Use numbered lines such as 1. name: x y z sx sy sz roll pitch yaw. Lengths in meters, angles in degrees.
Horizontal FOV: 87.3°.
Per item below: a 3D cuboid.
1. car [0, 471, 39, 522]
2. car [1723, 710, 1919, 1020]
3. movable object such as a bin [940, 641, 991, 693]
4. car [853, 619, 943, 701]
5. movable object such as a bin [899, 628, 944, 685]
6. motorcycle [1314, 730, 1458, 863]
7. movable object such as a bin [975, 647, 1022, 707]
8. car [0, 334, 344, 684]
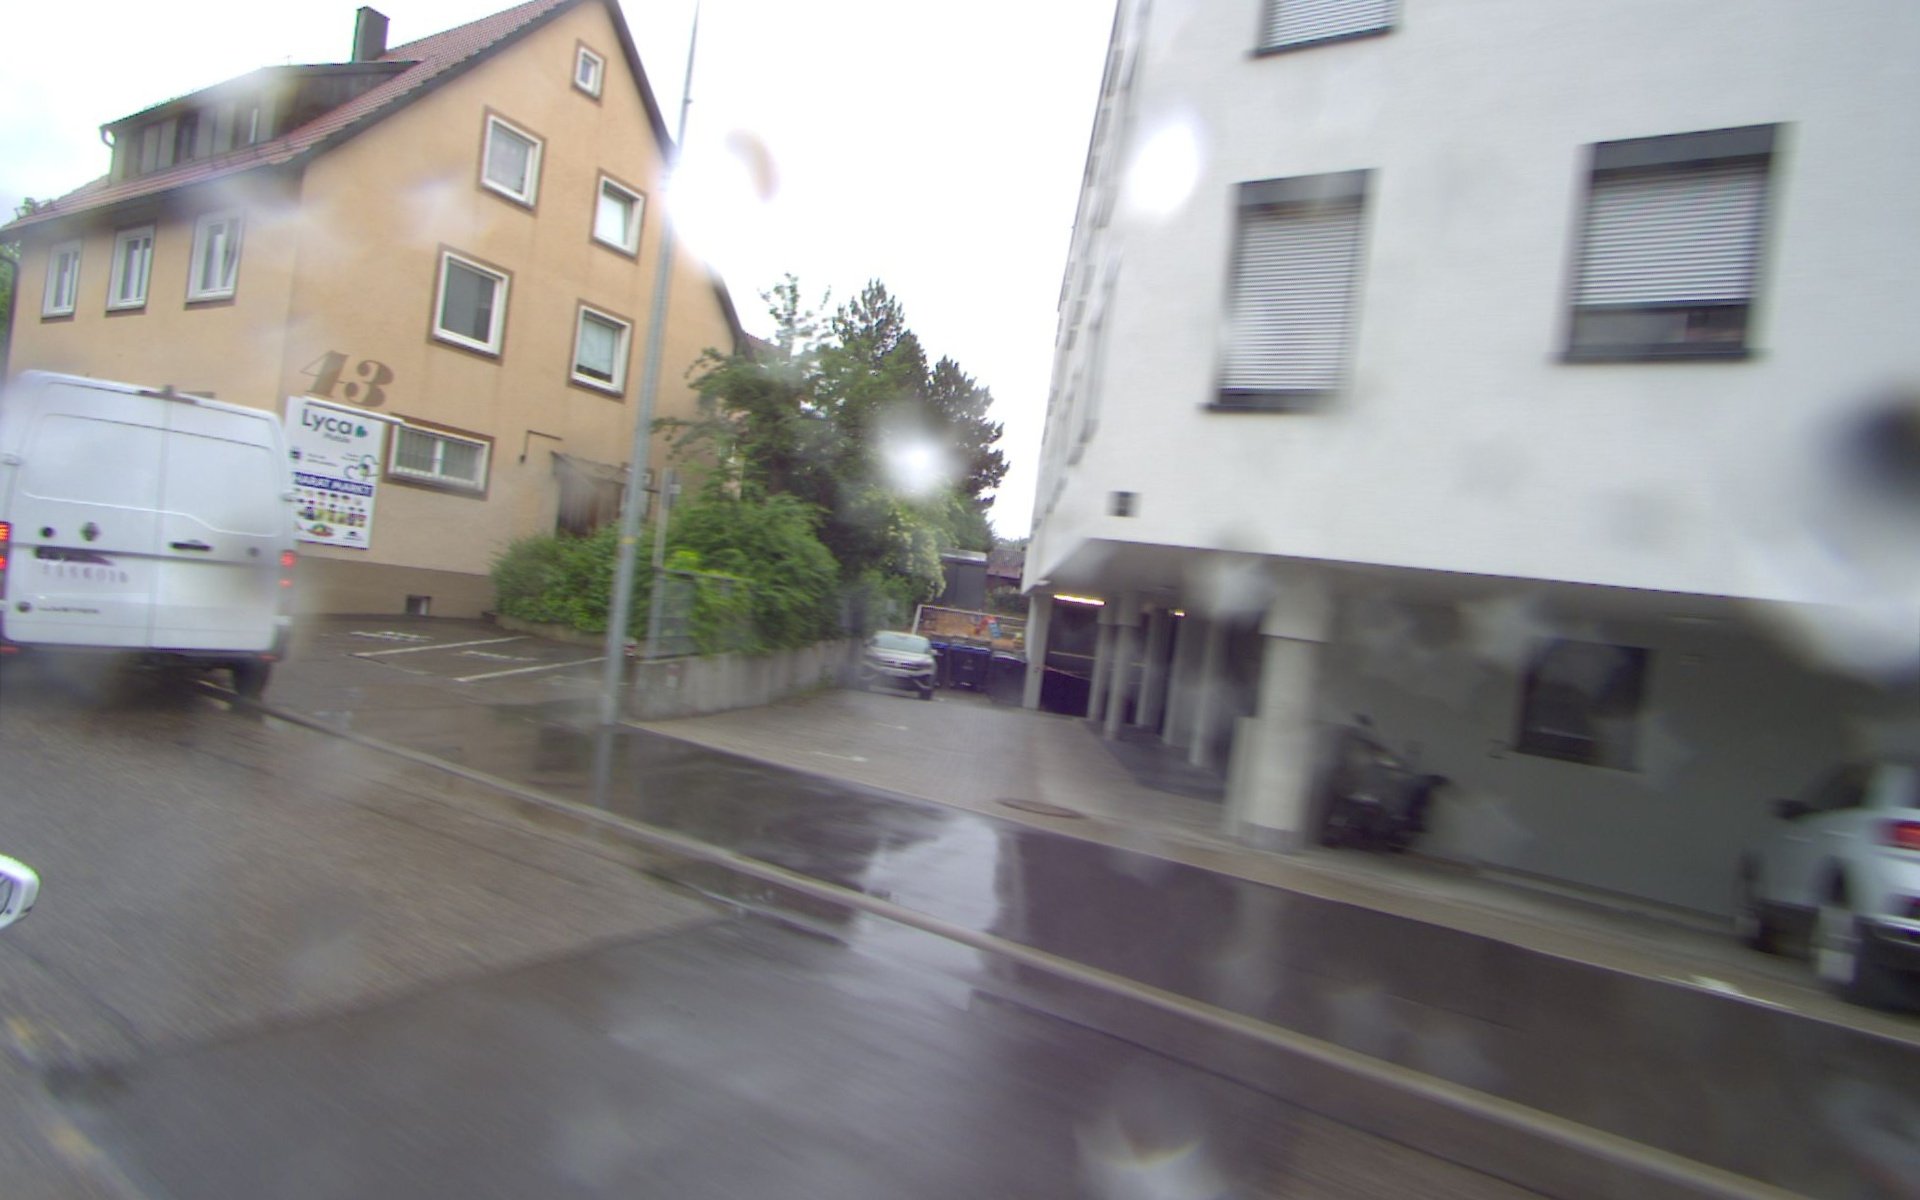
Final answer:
1. car: -39.699 -4.371 40.059 1.847 1.894 4.093 8 1 37
2. car: 6.443 1.798 6.489 1.789 1.543 3.809 7 -7 30
3. movable object such as a bin: 0.170 2.005 30.263 1.393 1.396 1.083 6 0 1
4. car: -1.452 1.507 24.475 1.800 1.552 4.007 9 -5 -1
5. movable object such as a bin: -1.138 1.669 30.056 1.146 1.543 1.505 5 0 0
6. motorcycle: 4.279 1.979 10.071 1.435 1.082 0.442 14 -4 -31
7. movable object such as a bin: 1.105 2.146 28.341 1.047 1.429 1.641 11 0 3
8. car: -8.412 -0.766 10.071 2.284 2.411 6.543 6 -1 -44
